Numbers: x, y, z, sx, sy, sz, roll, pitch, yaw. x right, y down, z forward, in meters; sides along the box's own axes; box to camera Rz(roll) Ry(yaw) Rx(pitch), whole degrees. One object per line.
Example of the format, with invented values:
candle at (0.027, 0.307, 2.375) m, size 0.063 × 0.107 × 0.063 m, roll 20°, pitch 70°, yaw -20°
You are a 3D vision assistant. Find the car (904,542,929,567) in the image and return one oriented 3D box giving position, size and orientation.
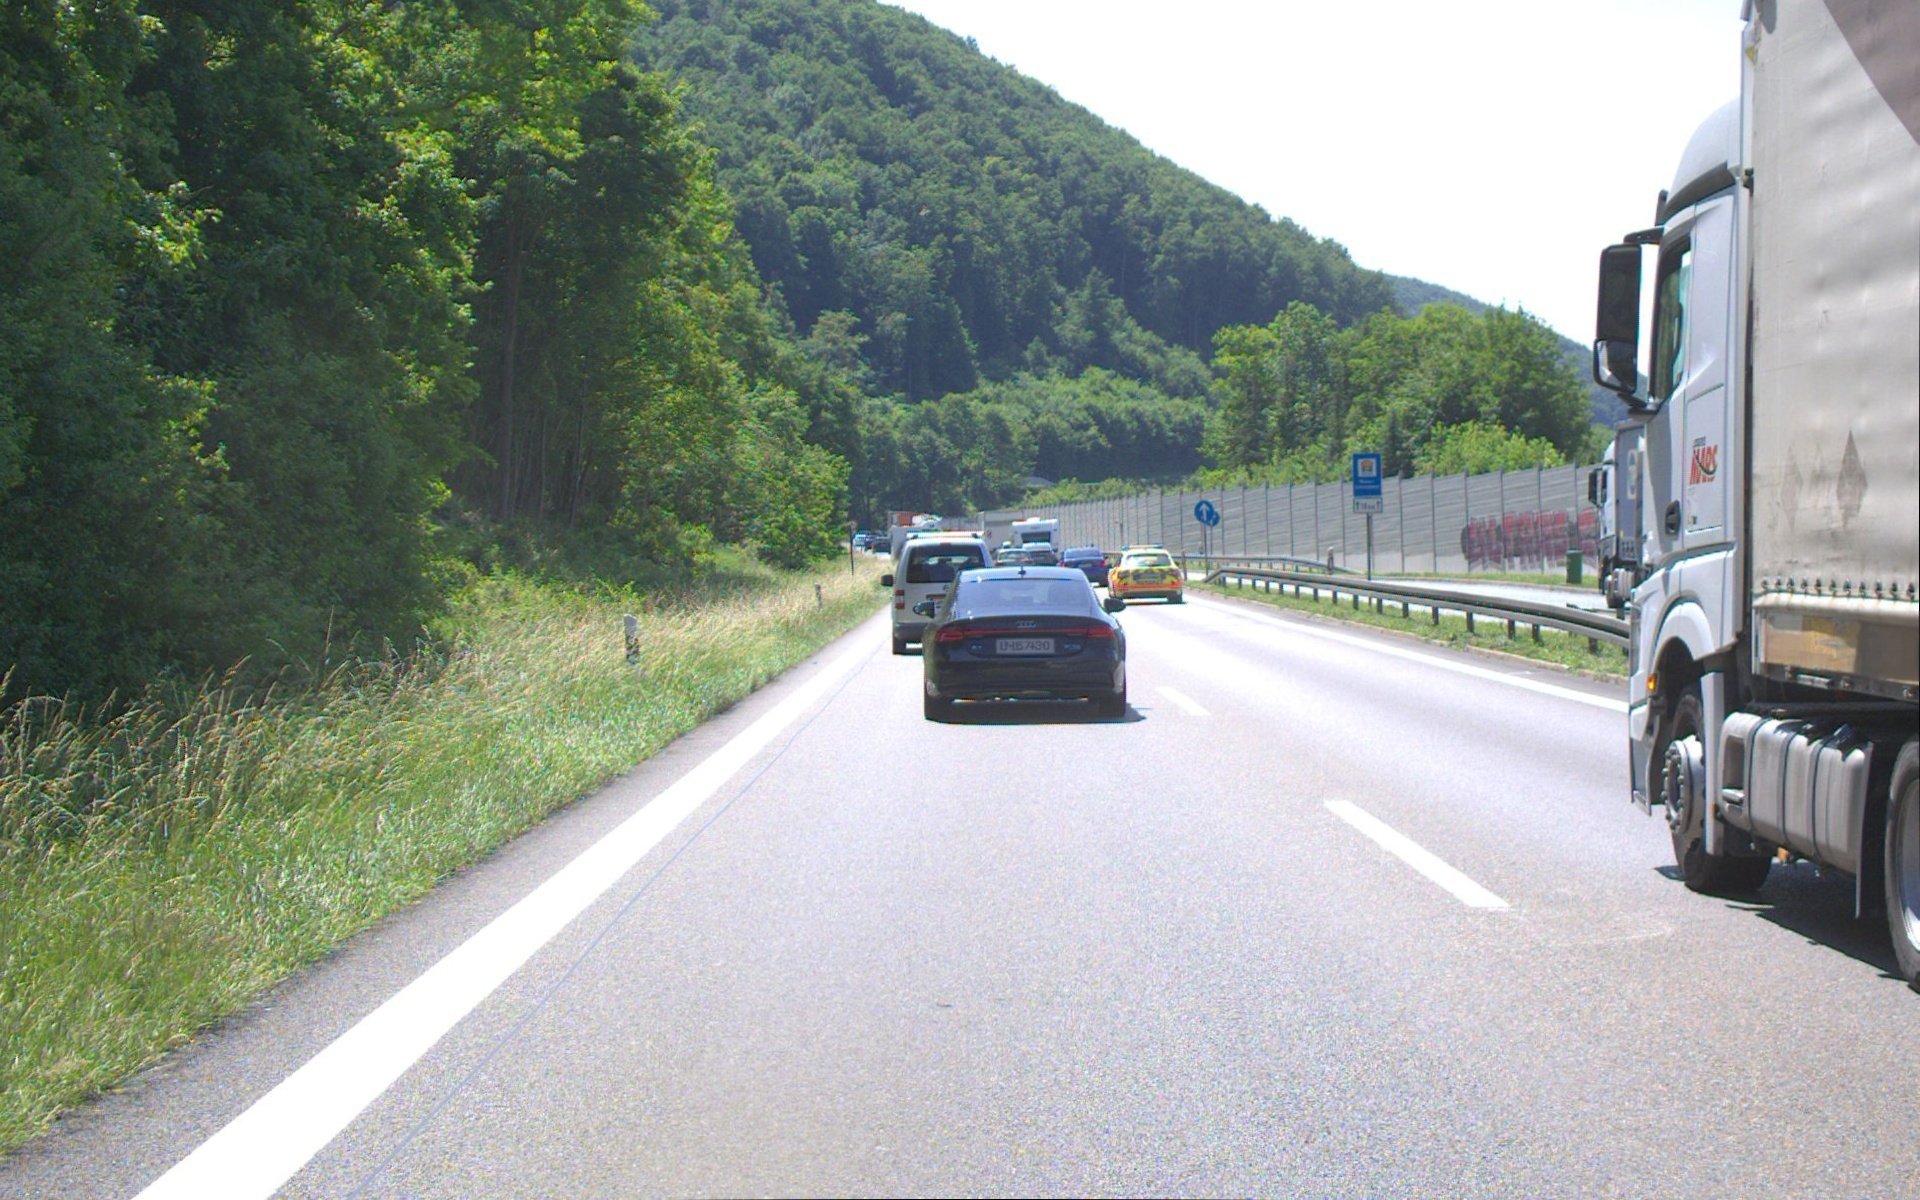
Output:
car at (-2.679, -2.812, 212.731) m, size 1.489 × 1.491 × 3.590 m, roll 2°, pitch 0°, yaw 0°

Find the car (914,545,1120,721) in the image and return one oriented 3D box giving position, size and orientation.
car at (0.519, 0.266, 32.481) m, size 1.812 × 1.509 × 3.514 m, roll 1°, pitch 1°, yaw 0°

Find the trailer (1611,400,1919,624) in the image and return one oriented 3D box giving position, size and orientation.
trailer at (15.300, -1.633, 65.929) m, size 3.411 × 3.887 × 11.152 m, roll 1°, pitch 1°, yaw 0°

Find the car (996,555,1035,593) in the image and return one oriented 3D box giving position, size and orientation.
car at (2.330, -1.069, 144.681) m, size 1.530 × 1.520 × 3.597 m, roll 2°, pitch 0°, yaw 0°

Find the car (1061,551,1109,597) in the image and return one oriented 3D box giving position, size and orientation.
car at (4.366, -0.885, 120.295) m, size 1.530 × 1.520 × 3.597 m, roll 2°, pitch 0°, yaw 0°

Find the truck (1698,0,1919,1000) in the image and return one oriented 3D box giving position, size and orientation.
truck at (4.501, -0.721, 7.061) m, size 2.726 × 4.054 × 13.742 m, roll 1°, pitch 0°, yaw -1°

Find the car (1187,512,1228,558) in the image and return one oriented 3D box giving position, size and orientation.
car at (10.951, -2.875, 152.330) m, size 1.576 × 2.007 × 3.428 m, roll 0°, pitch 1°, yaw 0°

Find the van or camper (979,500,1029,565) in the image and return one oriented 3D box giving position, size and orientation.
van or camper at (2.758, -4.279, 219.310) m, size 2.794 × 3.894 × 6.167 m, roll 2°, pitch 0°, yaw -2°

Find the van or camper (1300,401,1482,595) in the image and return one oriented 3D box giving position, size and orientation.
van or camper at (9.057, -2.076, 72.894) m, size 2.794 × 3.828 × 6.167 m, roll 2°, pitch 0°, yaw -2°

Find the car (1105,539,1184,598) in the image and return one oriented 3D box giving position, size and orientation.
car at (4.883, -0.847, 91.463) m, size 1.879 × 1.493 × 4.000 m, roll 1°, pitch 1°, yaw 0°

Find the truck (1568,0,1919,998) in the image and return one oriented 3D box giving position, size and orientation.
truck at (4.414, -0.729, 13.926) m, size 2.719 × 4.054 × 5.754 m, roll 1°, pitch 0°, yaw -1°

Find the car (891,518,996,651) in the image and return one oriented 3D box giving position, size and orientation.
car at (-0.262, -0.249, 54.502) m, size 1.521 × 1.961 × 3.514 m, roll 3°, pitch 0°, yaw 0°

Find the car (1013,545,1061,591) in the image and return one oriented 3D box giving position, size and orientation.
car at (3.552, -1.472, 159.104) m, size 2.086 × 2.007 × 4.000 m, roll 2°, pitch 0°, yaw 0°

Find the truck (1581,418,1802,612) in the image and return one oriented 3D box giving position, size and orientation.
truck at (15.272, -1.760, 72.210) m, size 3.411 × 3.887 × 5.388 m, roll 1°, pitch 1°, yaw 0°

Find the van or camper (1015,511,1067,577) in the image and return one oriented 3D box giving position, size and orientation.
van or camper at (4.064, -2.804, 173.650) m, size 2.429 × 3.144 × 5.203 m, roll 2°, pitch 0°, yaw 0°

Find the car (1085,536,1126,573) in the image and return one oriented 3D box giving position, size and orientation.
car at (8.050, -2.509, 190.828) m, size 1.993 × 2.007 × 4.000 m, roll 1°, pitch 1°, yaw -1°
